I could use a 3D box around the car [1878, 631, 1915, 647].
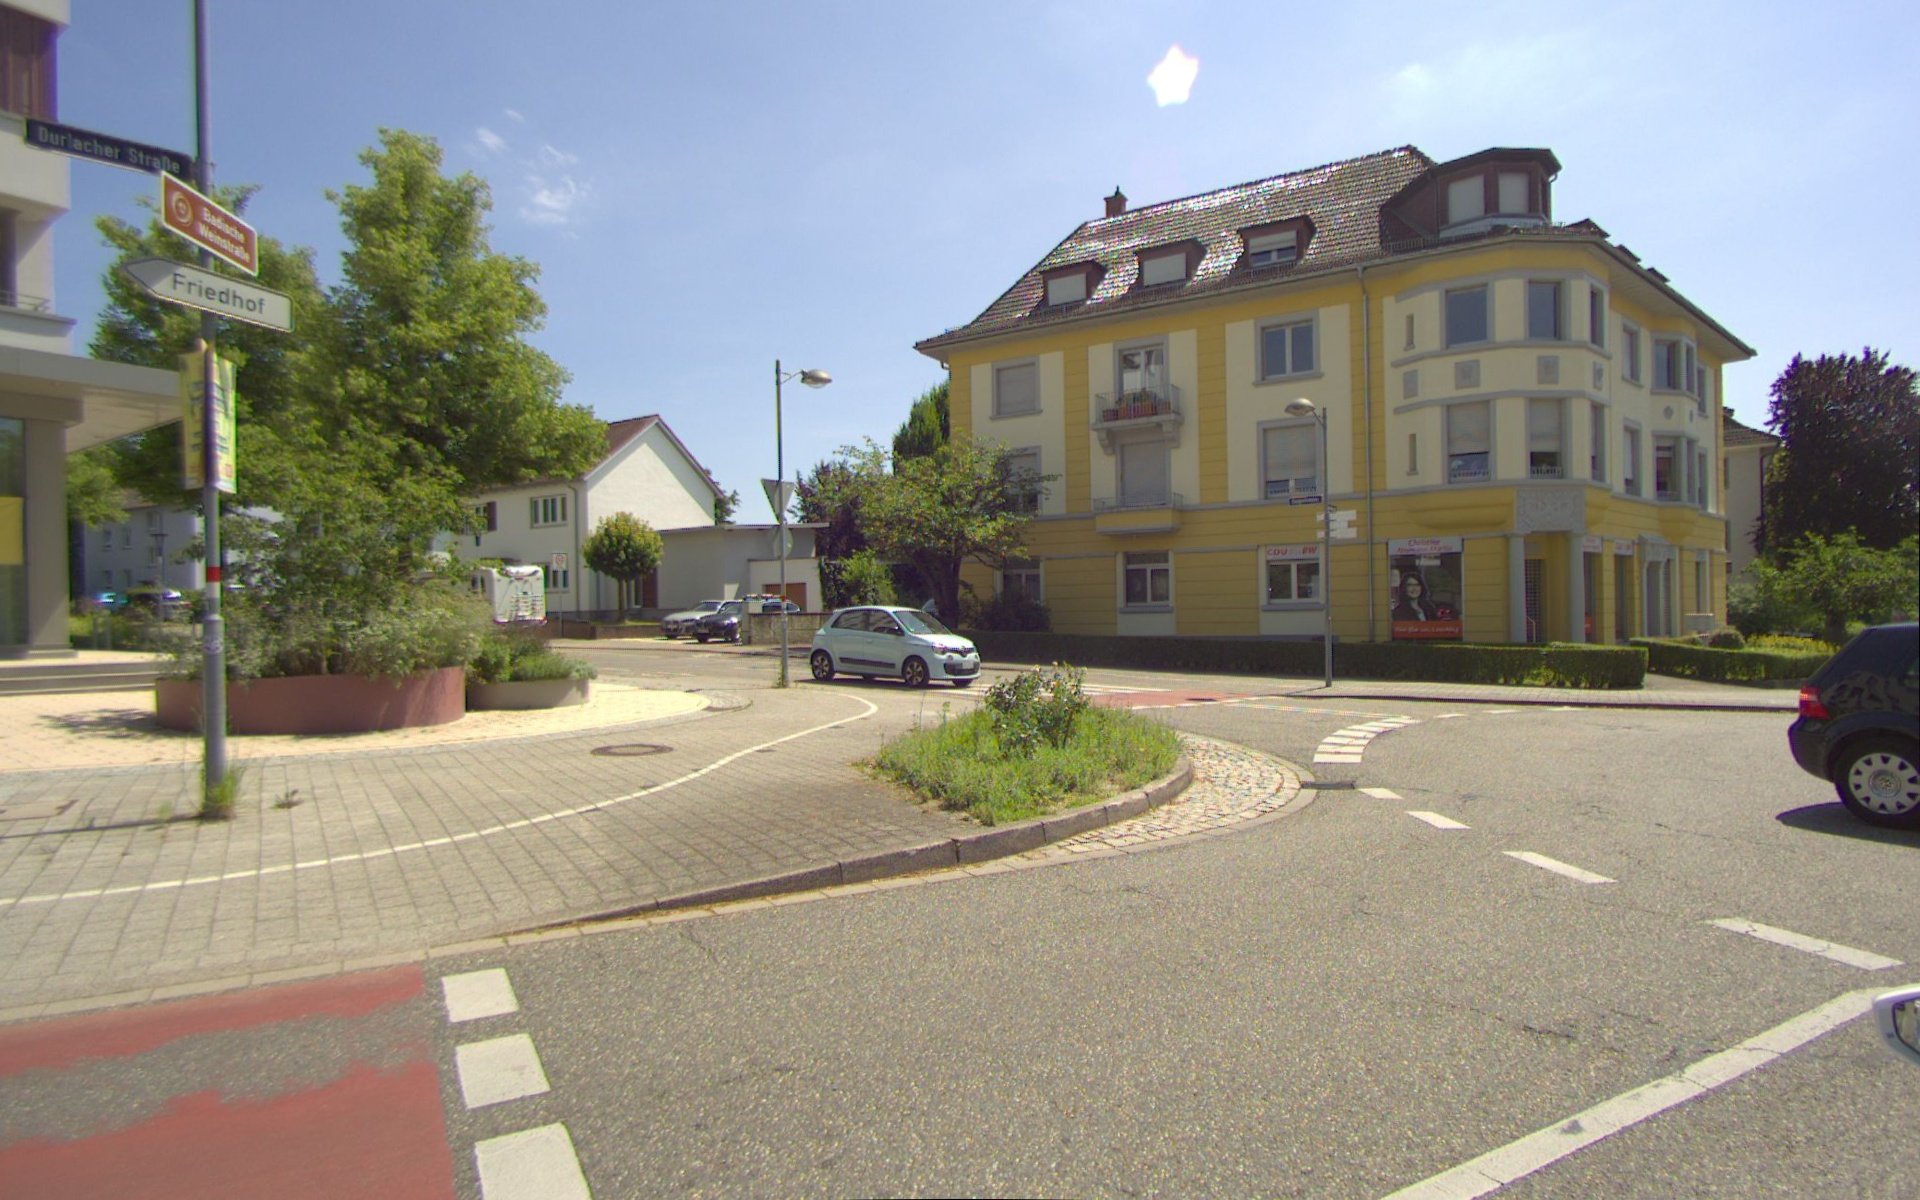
[{"bbox_3d":[92.119,3.821,98.820,1.966,1.529,4.406,0,-1,34],"label":"car"}]

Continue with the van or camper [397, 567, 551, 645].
[{"bbox_3d":[-17.886,0.171,36.894,5.782,2.674,2.269,0,2,31],"label":"van or camper"}]

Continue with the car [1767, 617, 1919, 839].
[{"bbox_3d":[7.639,0.834,6.032,1.692,1.466,4.036,-1,-1,-23],"label":"car"}]

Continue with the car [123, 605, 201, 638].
[{"bbox_3d":[-39.057,1.044,49.140,3.923,1.525,1.752,0,-1,32],"label":"car"}]

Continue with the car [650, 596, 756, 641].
[{"bbox_3d":[-9.846,0.703,38.755,1.724,1.607,3.987,0,-1,27],"label":"car"}]

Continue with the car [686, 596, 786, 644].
[{"bbox_3d":[-7.933,0.697,35.992,1.721,1.607,3.993,0,-1,17],"label":"car"}]

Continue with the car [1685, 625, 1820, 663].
[{"bbox_3d":[34.584,1.873,43.995,4.339,1.529,1.997,0,-1,29],"label":"car"}]

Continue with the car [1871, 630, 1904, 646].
[{"bbox_3d":[95.149,3.897,103.074,1.967,1.508,3.987,2,0,35],"label":"car"}]

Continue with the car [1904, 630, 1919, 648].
[{"bbox_3d":[85.386,3.462,88.947,1.966,1.529,4.406,0,-1,34],"label":"car"}]

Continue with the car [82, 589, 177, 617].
[{"bbox_3d":[-50.812,0.199,61.522,1.782,1.630,4.117,1,-1,24],"label":"car"}]

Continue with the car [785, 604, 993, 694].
[{"bbox_3d":[-1.498,0.909,20.345,4.094,1.545,1.654,1,1,36],"label":"car"}]
